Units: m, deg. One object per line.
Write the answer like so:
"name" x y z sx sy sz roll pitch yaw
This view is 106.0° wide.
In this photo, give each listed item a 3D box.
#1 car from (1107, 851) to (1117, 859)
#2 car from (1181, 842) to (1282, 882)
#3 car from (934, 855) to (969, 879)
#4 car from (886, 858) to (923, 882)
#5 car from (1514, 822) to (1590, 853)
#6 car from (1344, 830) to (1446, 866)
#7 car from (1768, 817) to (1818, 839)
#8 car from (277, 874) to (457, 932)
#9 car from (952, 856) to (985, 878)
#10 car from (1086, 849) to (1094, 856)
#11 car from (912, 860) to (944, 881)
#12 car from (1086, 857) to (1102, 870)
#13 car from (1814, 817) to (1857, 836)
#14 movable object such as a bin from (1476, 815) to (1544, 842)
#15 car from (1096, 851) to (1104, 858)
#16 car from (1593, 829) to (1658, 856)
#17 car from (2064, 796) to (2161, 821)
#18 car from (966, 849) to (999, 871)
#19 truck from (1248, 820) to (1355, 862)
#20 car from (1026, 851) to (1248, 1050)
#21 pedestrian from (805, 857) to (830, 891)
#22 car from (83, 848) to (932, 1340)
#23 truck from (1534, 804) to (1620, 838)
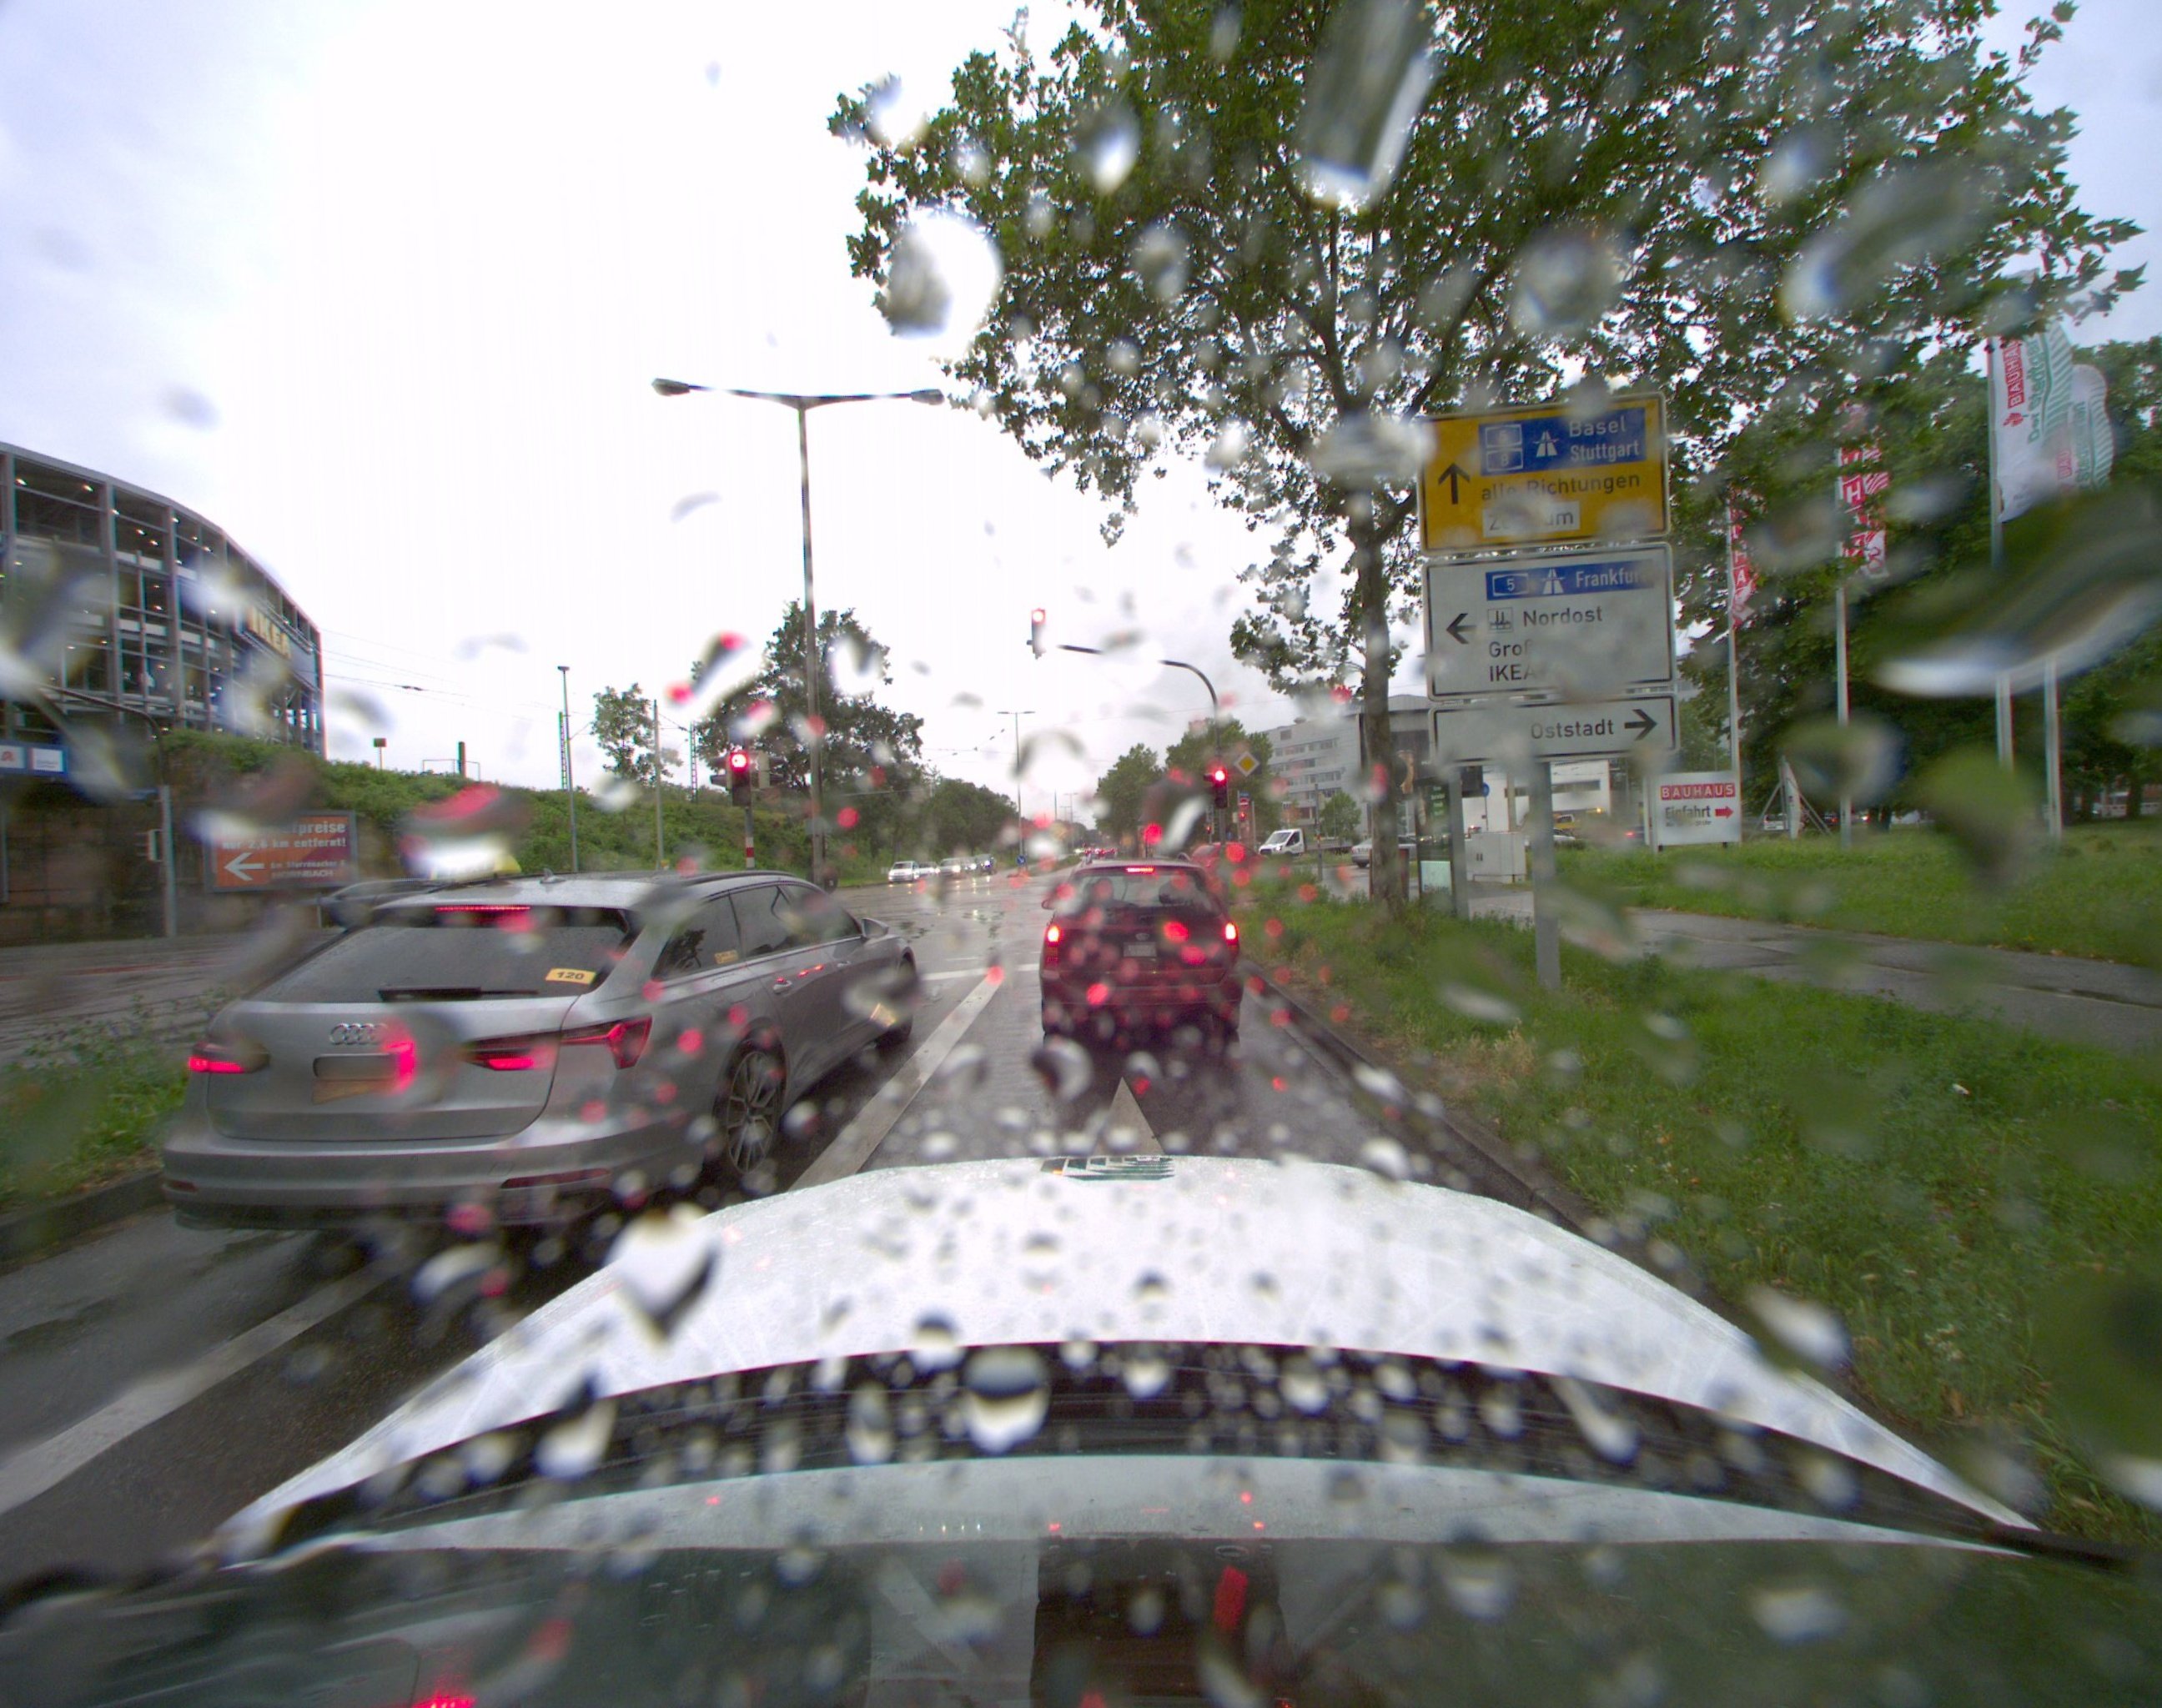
"car" 5.925 0.150 154.937 1.664 1.528 3.849 -3 0 3
"car" 6.125 0.316 33.063 3.829 1.491 1.662 -2 0 -31
"car" -8.947 0.873 56.536 1.632 1.473 3.966 -3 0 1
"car" -11.977 1.063 55.563 1.633 1.452 3.786 -3 0 0
"car" 27.232 -0.976 47.087 4.644 1.586 1.907 -2 -1 -34
"car" 14.883 -0.298 38.553 4.846 1.491 1.908 -2 0 -31
"car" 57.775 -2.104 66.099 4.645 1.586 1.907 -2 -1 -34
"car" -23.471 1.561 27.026 4.264 1.559 1.728 -3 0 -35
"car" -8.734 0.993 63.623 1.756 1.586 4.813 -3 -1 0
"car" 2.210 -0.405 202.855 1.691 1.528 3.849 -3 0 3
"car" -11.574 1.223 61.883 1.585 1.404 3.823 -3 0 1
"car" 1.782 1.262 110.241 1.988 1.790 3.997 0 -1 -1
"car" 70.402 -2.555 75.971 4.645 1.586 1.907 -2 -1 -34
"movable object such as a bin" 53.774 -3.165 102.173 3.342 2.995 6.650 -3 0 -34
"car" 4.627 0.019 193.949 1.691 1.528 3.849 -3 0 3
"car" 35.105 -0.759 52.458 4.645 1.586 1.906 -2 -1 -35
"car" 88.539 -3.892 69.317 2.286 1.731 5.899 -3 0 -33
"car" -8.624 0.504 71.809 2.058 1.819 5.542 -3 0 1
"truck" 13.984 -0.828 51.477 6.894 2.365 2.457 -3 0 -33
"car" 0.447 0.712 7.922 1.636 1.465 3.733 0 0 1
"pedestrian" -14.951 1.105 46.215 1.102 1.847 1.126 -3 0 -10
"car" -2.288 0.760 5.034 1.763 1.574 4.822 0 0 1
"truck" 57.973 -3.817 95.391 3.342 3.507 7.806 -3 0 -33
